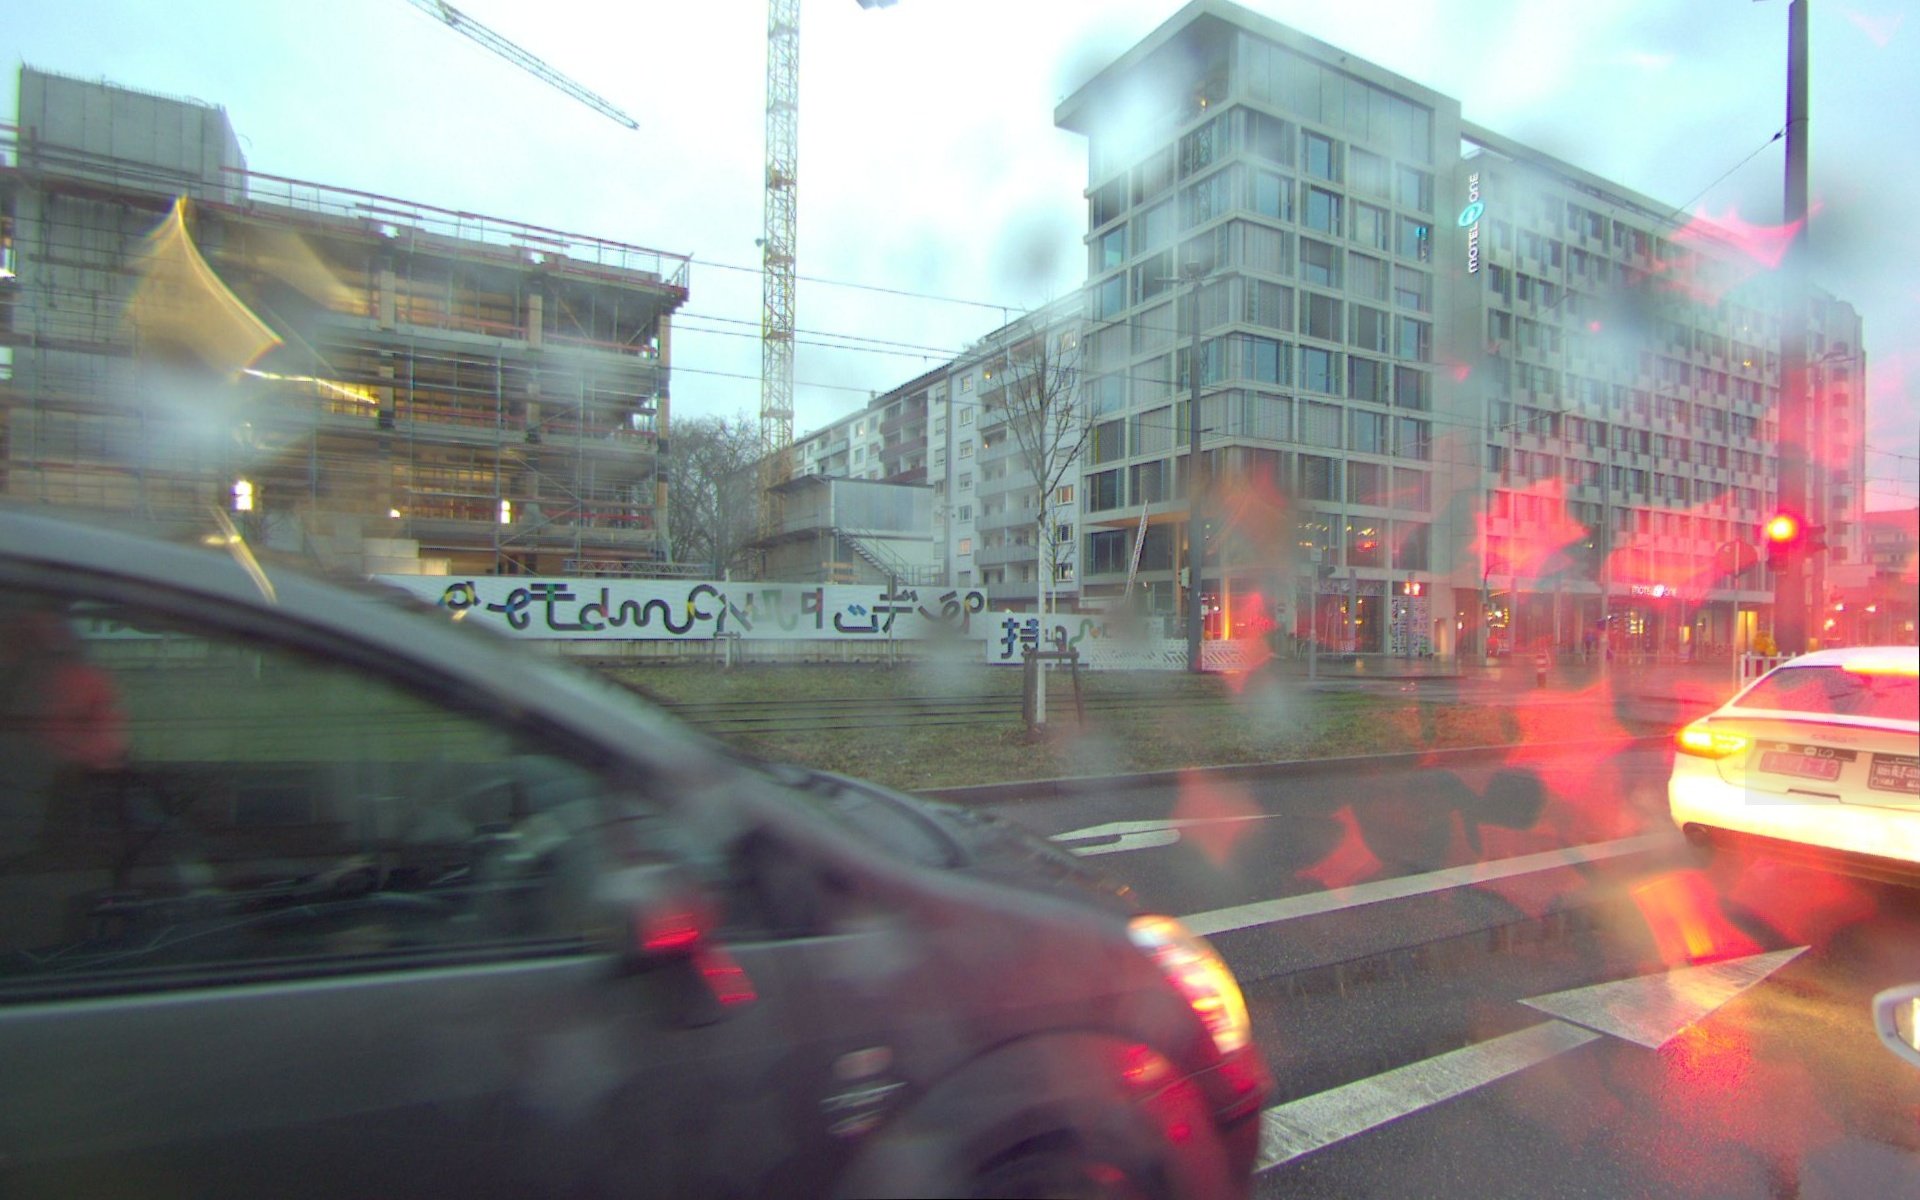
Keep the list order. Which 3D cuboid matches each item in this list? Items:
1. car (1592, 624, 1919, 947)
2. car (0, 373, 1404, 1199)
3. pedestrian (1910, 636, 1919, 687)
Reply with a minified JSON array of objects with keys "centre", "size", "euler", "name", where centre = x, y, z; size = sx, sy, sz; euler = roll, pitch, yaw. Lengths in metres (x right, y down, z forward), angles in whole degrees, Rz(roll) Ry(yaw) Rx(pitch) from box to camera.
[{"centre":[6.077,0.928,6.242],"size":[4.320,1.475,1.983],"euler":[1,-1,-32],"name":"car"},{"centre":[-1.333,0.633,1.645],"size":[4.089,1.668,1.801],"euler":[1,0,-32],"name":"car"},{"centre":[32.810,2.096,34.064],"size":[0.808,1.734,0.782],"euler":[2,0,-45],"name":"pedestrian"}]
